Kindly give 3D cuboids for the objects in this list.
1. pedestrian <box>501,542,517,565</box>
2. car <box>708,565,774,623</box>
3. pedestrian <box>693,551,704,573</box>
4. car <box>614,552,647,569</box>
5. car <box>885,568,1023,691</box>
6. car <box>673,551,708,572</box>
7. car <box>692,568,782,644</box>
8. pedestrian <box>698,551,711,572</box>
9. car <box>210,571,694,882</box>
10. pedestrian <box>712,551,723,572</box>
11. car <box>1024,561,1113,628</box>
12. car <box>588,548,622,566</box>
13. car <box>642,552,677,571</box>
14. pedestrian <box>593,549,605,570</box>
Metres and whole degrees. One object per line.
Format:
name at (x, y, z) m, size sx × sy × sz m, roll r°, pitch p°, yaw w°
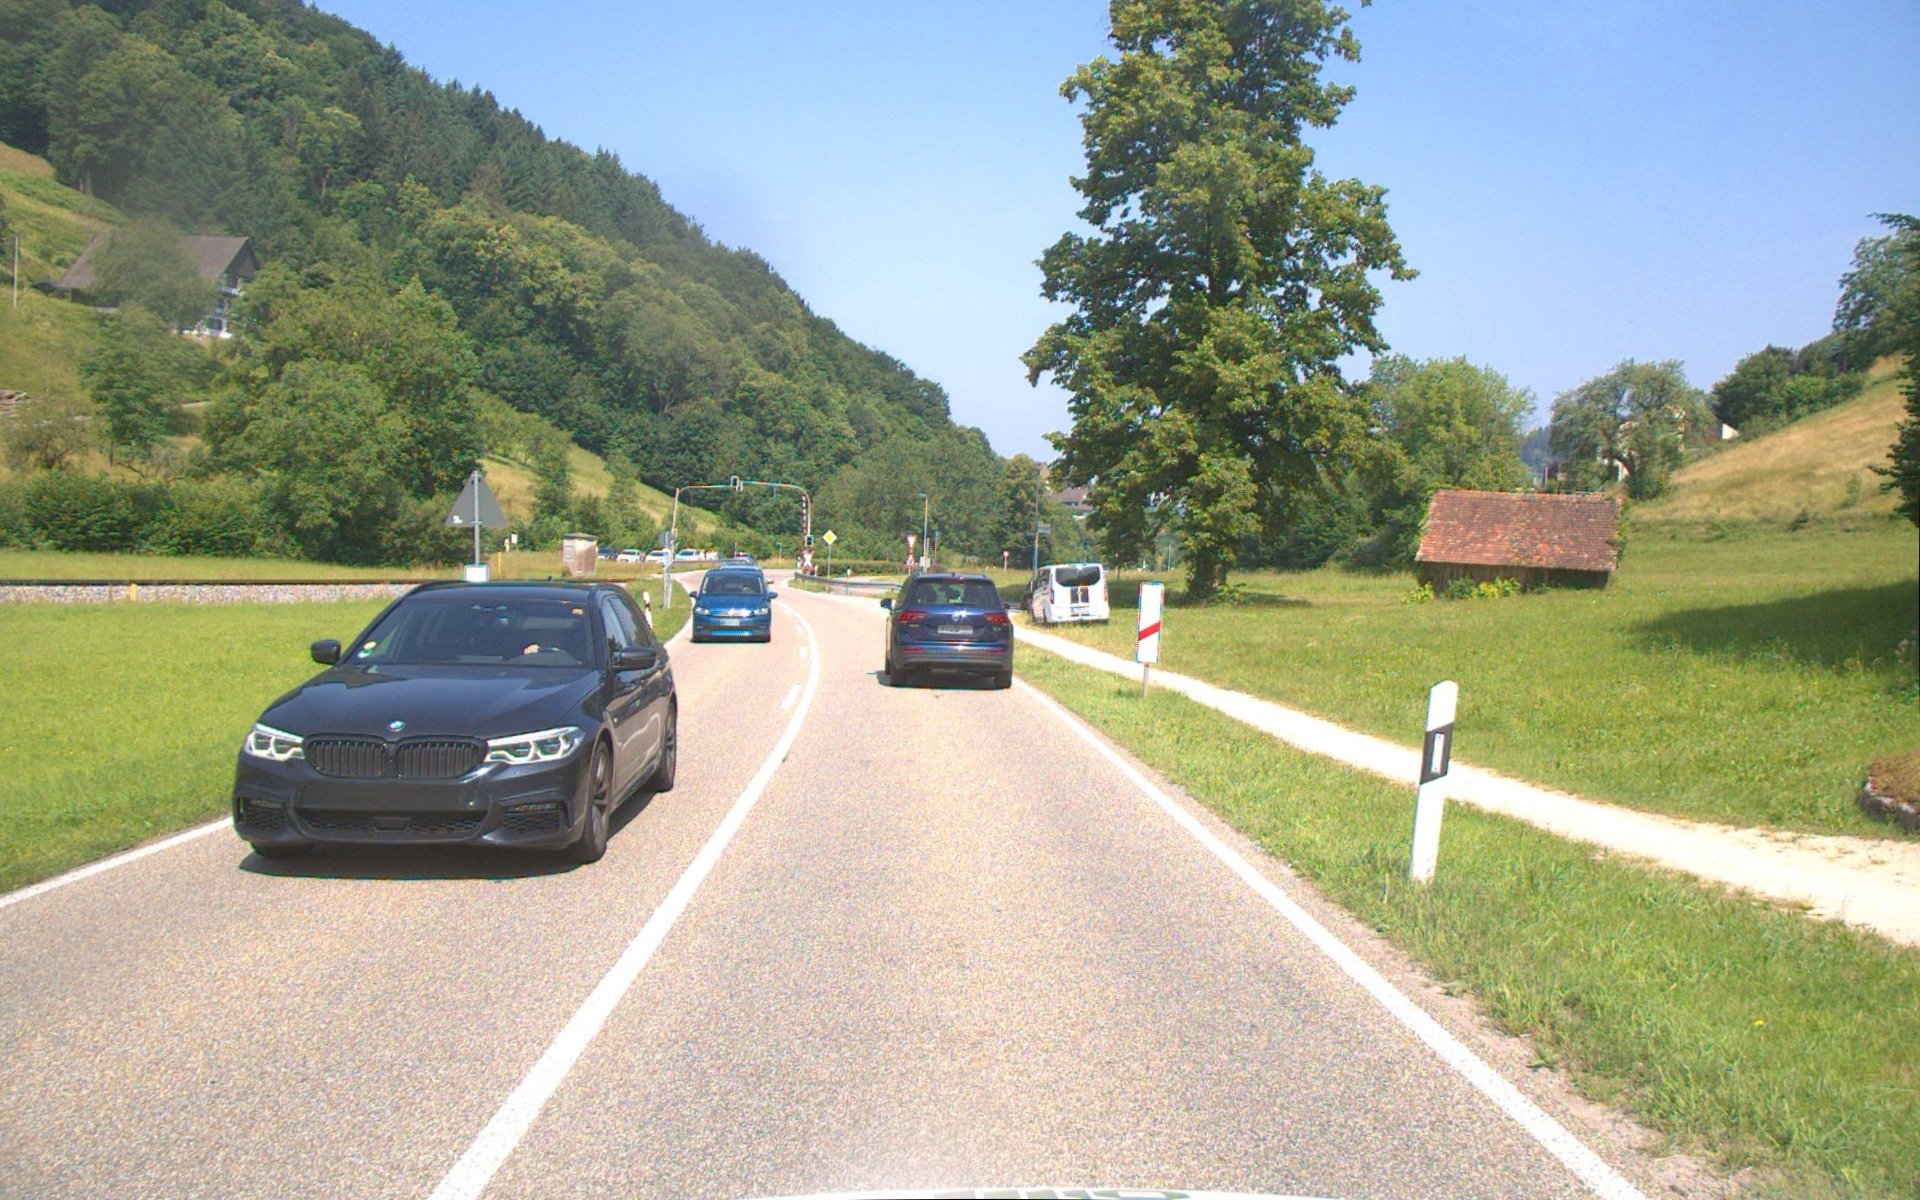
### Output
pedestrian at (-40.682, -4.176, 149.117) m, size 1.103 × 2.003 × 0.862 m, roll 1°, pitch 1°, yaw 20°
car at (-6.992, -0.225, 52.446) m, size 1.880 × 1.744 × 4.150 m, roll 1°, pitch 1°, yaw -10°
pedestrian at (-23.148, -3.355, 146.477) m, size 0.771 × 1.874 × 0.699 m, roll 1°, pitch 1°, yaw 16°
car at (-30.622, -3.642, 153.731) m, size 1.952 × 1.527 × 4.524 m, roll 1°, pitch 1°, yaw 3°
car at (-0.170, 0.379, 25.151) m, size 1.816 × 1.678 × 4.137 m, roll 1°, pitch 1°, yaw -4°
car at (-25.161, -3.599, 154.411) m, size 1.831 × 1.813 × 4.776 m, roll 2°, pitch 1°, yaw 8°
car at (-5.191, 0.087, 38.902) m, size 1.829 × 1.652 × 4.506 m, roll 1°, pitch 1°, yaw -5°
pedestrian at (-22.790, -3.437, 147.481) m, size 0.754 × 1.827 × 0.792 m, roll 1°, pitch 1°, yaw 31°
car at (-2.858, 0.594, 10.410) m, size 1.878 × 1.496 × 4.508 m, roll 1°, pitch 1°, yaw -4°
pedestrian at (-21.650, -3.459, 147.640) m, size 0.637 × 1.891 × 0.767 m, roll 1°, pitch 1°, yaw 38°
car at (3.346, -0.214, 51.849) m, size 1.961 × 1.880 × 4.864 m, roll -4°, pitch 2°, yaw -5°
car at (-33.052, -3.956, 154.196) m, size 1.952 × 1.526 × 4.524 m, roll 3°, pitch 1°, yaw 3°
car at (-27.978, -3.603, 153.995) m, size 1.951 × 1.670 × 4.905 m, roll 1°, pitch 1°, yaw 5°
pedestrian at (-32.225, -3.607, 147.690) m, size 0.935 × 1.825 × 1.000 m, roll 1°, pitch 1°, yaw -3°
